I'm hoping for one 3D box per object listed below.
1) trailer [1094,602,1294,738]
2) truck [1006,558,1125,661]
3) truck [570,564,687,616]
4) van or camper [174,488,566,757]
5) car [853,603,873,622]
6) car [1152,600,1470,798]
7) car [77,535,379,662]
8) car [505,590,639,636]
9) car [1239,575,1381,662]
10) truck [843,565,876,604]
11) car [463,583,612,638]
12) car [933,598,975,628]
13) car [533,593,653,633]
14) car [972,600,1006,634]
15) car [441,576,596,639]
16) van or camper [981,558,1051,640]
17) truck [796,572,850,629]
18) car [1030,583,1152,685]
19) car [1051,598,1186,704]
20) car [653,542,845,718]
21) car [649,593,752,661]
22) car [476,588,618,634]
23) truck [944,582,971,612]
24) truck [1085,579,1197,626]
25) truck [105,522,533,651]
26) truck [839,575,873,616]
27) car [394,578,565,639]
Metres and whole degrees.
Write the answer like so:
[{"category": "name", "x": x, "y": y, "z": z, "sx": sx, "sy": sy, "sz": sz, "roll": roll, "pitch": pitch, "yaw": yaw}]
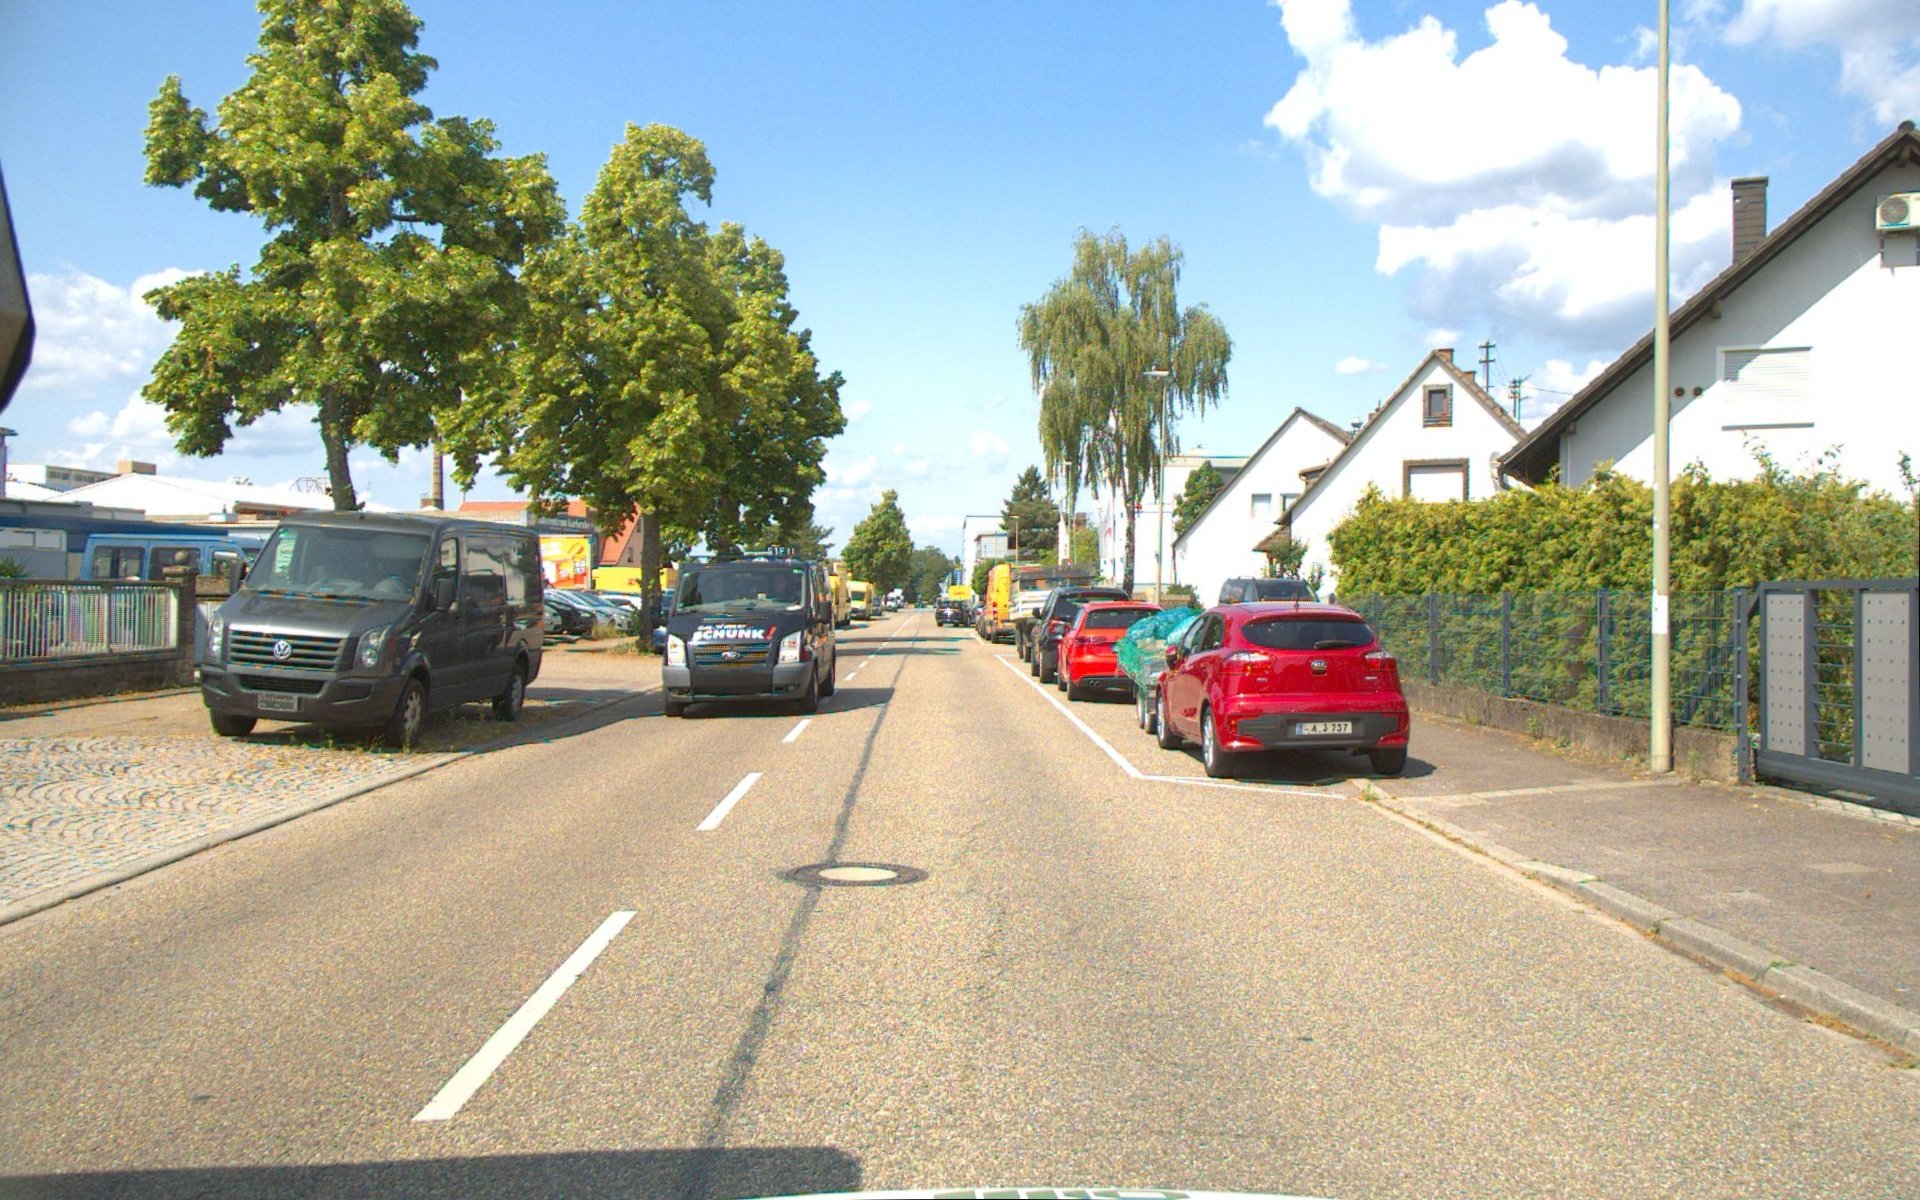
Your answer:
[{"category": "trailer", "x": 2.647, "y": 0.740, "z": 19.634, "sx": 1.575, "sy": 1.402, "sz": 4.430, "roll": 1, "pitch": 0, "yaw": -2}, {"category": "truck", "x": 2.492, "y": 0.211, "z": 40.735, "sx": 2.470, "sy": 2.339, "sz": 5.894, "roll": 0, "pitch": 0, "yaw": -1}, {"category": "truck", "x": -20.210, "y": -0.611, "z": 100.989, "sx": 6.457, "sy": 2.899, "sz": 2.531, "roll": 2, "pitch": 0, "yaw": 12}, {"category": "van or camper", "x": -6.171, "y": 0.198, "z": 18.280, "sx": 1.953, "sy": 2.357, "sz": 5.935, "roll": 4, "pitch": 0, "yaw": 1}, {"category": "car", "x": -8.877, "y": 1.132, "z": 151.570, "sx": 1.690, "sy": 1.632, "sz": 4.411, "roll": 3, "pitch": 0, "yaw": -3}, {"category": "car", "x": 2.945, "y": 0.754, "z": 14.926, "sx": 1.657, "sy": 1.488, "sz": 4.753, "roll": 1, "pitch": 0, "yaw": -3}, {"category": "car", "x": -13.699, "y": -0.025, "z": 31.045, "sx": 4.894, "sy": 2.271, "sz": 2.001, "roll": 0, "pitch": -1, "yaw": 12}, {"category": "car", "x": -13.045, "y": 0.430, "z": 55.749, "sx": 4.058, "sy": 1.516, "sz": 1.827, "roll": 0, "pitch": -1, "yaw": 1}, {"category": "car", "x": 8.058, "y": 0.390, "z": 38.574, "sx": 1.821, "sy": 1.898, "sz": 5.014, "roll": 0, "pitch": 0, "yaw": -6}, {"category": "truck", "x": -8.083, "y": -1.210, "z": 133.341, "sx": 2.269, "sy": 2.912, "sz": 7.102, "roll": 3, "pitch": 0, "yaw": -1}, {"category": "car", "x": -12.937, "y": 0.319, "z": 50.806, "sx": 4.058, "sy": 1.647, "sz": 1.827, "roll": 0, "pitch": -1, "yaw": 1}, {"category": "car", "x": -0.314, "y": 0.675, "z": 88.879, "sx": 1.397, "sy": 1.545, "sz": 3.018, "roll": 0, "pitch": 0, "yaw": 17}, {"category": "car", "x": -13.467, "y": 0.474, "z": 60.833, "sx": 3.942, "sy": 1.398, "sz": 1.828, "roll": 1, "pitch": 0, "yaw": 4}, {"category": "car", "x": 1.432, "y": 0.824, "z": 82.024, "sx": 1.577, "sy": 1.608, "sz": 4.000, "roll": 2, "pitch": 0, "yaw": 0}, {"category": "car", "x": -12.955, "y": 0.225, "z": 48.679, "sx": 4.058, "sy": 1.819, "sz": 1.827, "roll": 0, "pitch": -1, "yaw": 1}, {"category": "van or camper", "x": 1.899, "y": -0.031, "z": 57.964, "sx": 1.954, "sy": 2.710, "sz": 5.766, "roll": 0, "pitch": 0, "yaw": -3}, {"category": "truck", "x": -7.393, "y": 0.047, "z": 89.950, "sx": 2.175, "sy": 2.907, "sz": 7.069, "roll": 2, "pitch": 0, "yaw": 0}, {"category": "car", "x": 2.305, "y": 0.569, "z": 30.151, "sx": 1.792, "sy": 1.691, "sz": 4.553, "roll": 0, "pitch": 0, "yaw": -1}, {"category": "car", "x": 2.351, "y": 0.720, "z": 25.389, "sx": 1.650, "sy": 1.460, "sz": 4.146, "roll": 1, "pitch": 0, "yaw": 0}, {"category": "car", "x": -2.726, "y": 0.361, "z": 22.525, "sx": 2.009, "sy": 2.070, "sz": 5.140, "roll": -1, "pitch": 0, "yaw": -1}, {"category": "car", "x": -6.358, "y": 0.627, "z": 40.928, "sx": 1.664, "sy": 1.509, "sz": 4.160, "roll": 2, "pitch": 0, "yaw": 3}, {"category": "car", "x": -13.186, "y": 0.360, "z": 52.977, "sx": 4.058, "sy": 1.456, "sz": 1.827, "roll": 0, "pitch": -1, "yaw": 1}, {"category": "truck", "x": -0.288, "y": -0.274, "z": 173.363, "sx": 2.425, "sy": 2.991, "sz": 7.185, "roll": 1, "pitch": 0, "yaw": -2}, {"category": "truck", "x": 10.286, "y": 0.132, "z": 94.082, "sx": 5.969, "sy": 2.622, "sz": 2.544, "roll": 0, "pitch": 0, "yaw": -27}, {"category": "truck", "x": -15.000, "y": -0.310, "z": 39.072, "sx": 9.064, "sy": 2.906, "sz": 2.722, "roll": 0, "pitch": 0, "yaw": 3}, {"category": "truck", "x": -7.749, "y": -0.284, "z": 123.415, "sx": 2.223, "sy": 2.905, "sz": 7.171, "roll": 1, "pitch": -1, "yaw": -2}, {"category": "car", "x": -13.203, "y": 0.213, "z": 45.634, "sx": 4.208, "sy": 1.643, "sz": 1.826, "roll": 0, "pitch": 1, "yaw": -2}]
